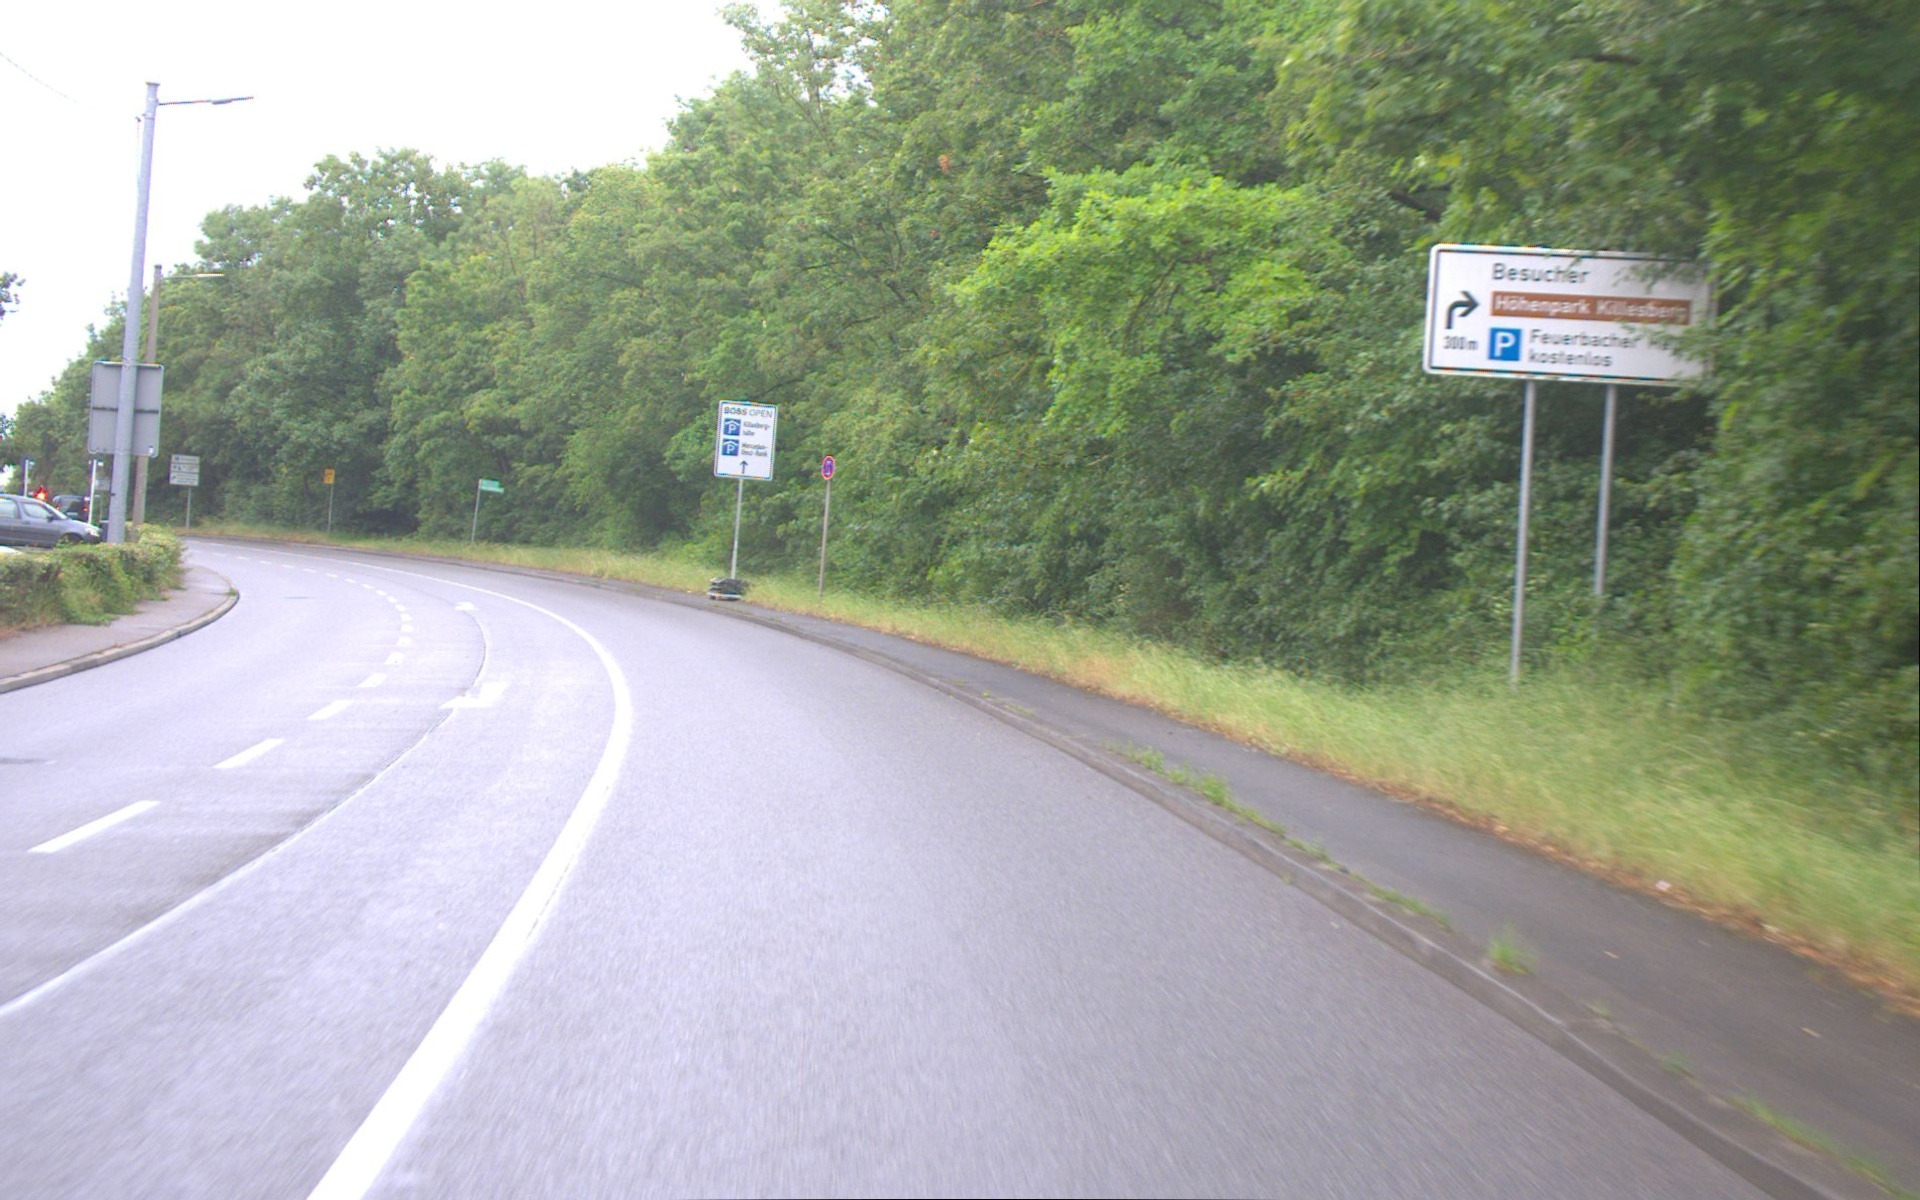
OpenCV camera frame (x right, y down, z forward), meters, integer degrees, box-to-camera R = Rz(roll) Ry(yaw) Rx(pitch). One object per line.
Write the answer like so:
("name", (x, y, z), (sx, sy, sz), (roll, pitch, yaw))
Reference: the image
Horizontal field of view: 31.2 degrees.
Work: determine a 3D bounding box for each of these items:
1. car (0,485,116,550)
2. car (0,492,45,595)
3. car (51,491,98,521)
("car", (-26.088, -2.357, 96.933), (4.289, 1.702, 2.001), (2, 1, -11))
("car", (-16.152, -0.943, 51.645), (4.573, 1.501, 2.001), (2, 1, -14))
("car", (-46.254, -4.915, 179.461), (1.934, 1.493, 4.319), (2, 1, -20))
